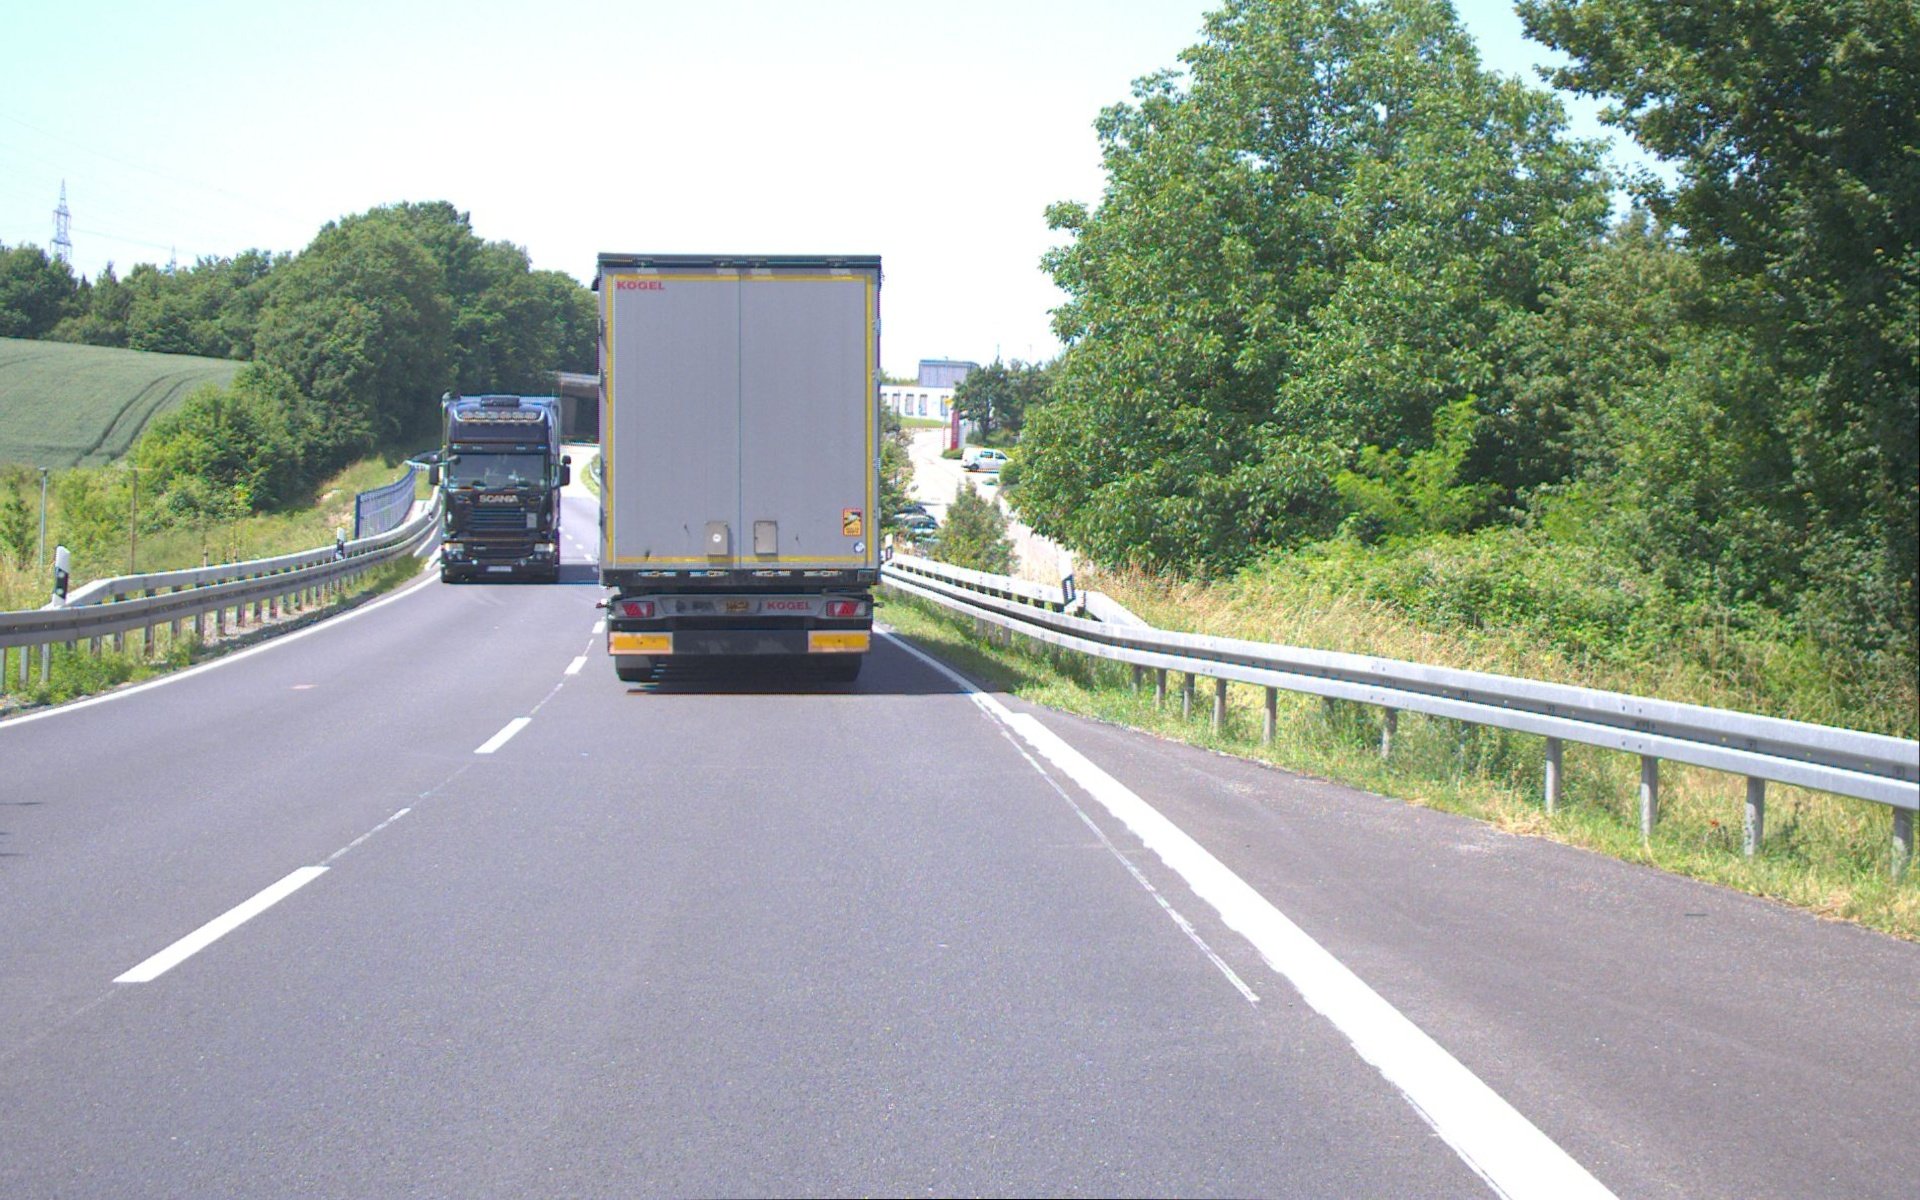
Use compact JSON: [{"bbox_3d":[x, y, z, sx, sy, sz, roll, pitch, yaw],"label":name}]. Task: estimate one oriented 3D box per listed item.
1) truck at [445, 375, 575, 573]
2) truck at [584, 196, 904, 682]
[{"bbox_3d":[-9.796,-2.740,75.244,2.445,4.180,5.650,0,2,-4],"label":"truck"},{"bbox_3d":[-2.394,-1.571,35.776,2.865,4.344,9.791,0,1,-5],"label":"truck"}]
